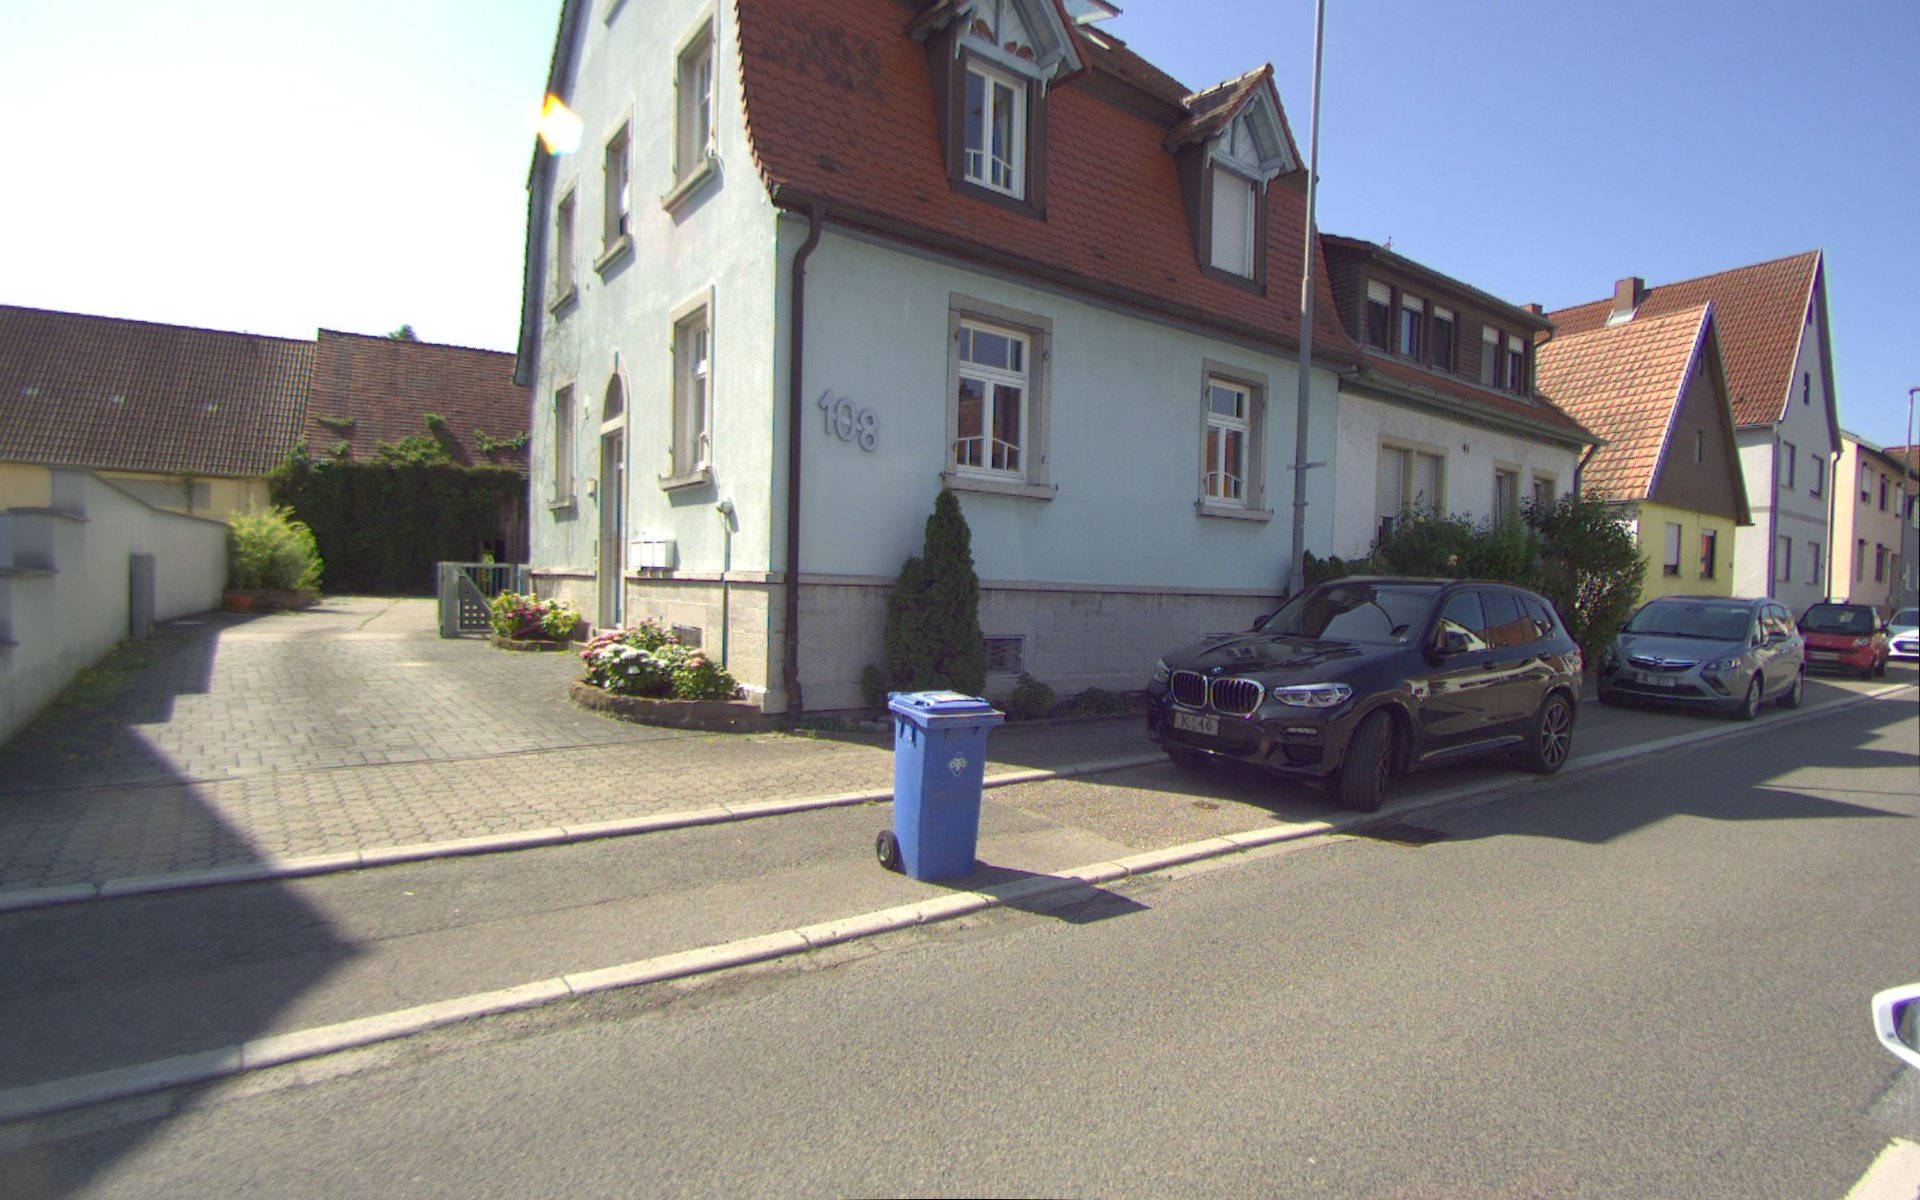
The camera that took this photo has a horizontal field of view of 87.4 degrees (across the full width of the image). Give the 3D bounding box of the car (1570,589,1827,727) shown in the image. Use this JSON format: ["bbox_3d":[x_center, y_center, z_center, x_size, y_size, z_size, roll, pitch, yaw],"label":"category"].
[{"bbox_3d":[10.879,0.749,14.675,4.623,1.659,1.858,1,2,-39],"label":"car"}]

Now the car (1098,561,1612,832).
[{"bbox_3d":[3.537,0.639,8.609,4.622,1.690,1.906,1,3,-37],"label":"car"}]

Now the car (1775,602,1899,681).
[{"bbox_3d":[19.473,0.872,22.287,2.962,1.565,1.540,1,2,-39],"label":"car"}]

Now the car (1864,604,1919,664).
[{"bbox_3d":[27.391,0.970,28.556,4.366,1.568,1.791,1,2,-39],"label":"car"}]

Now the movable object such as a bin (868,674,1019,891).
[{"bbox_3d":[-0.096,0.925,5.328,0.526,0.995,0.592,1,2,-37],"label":"movable object such as a bin"}]
